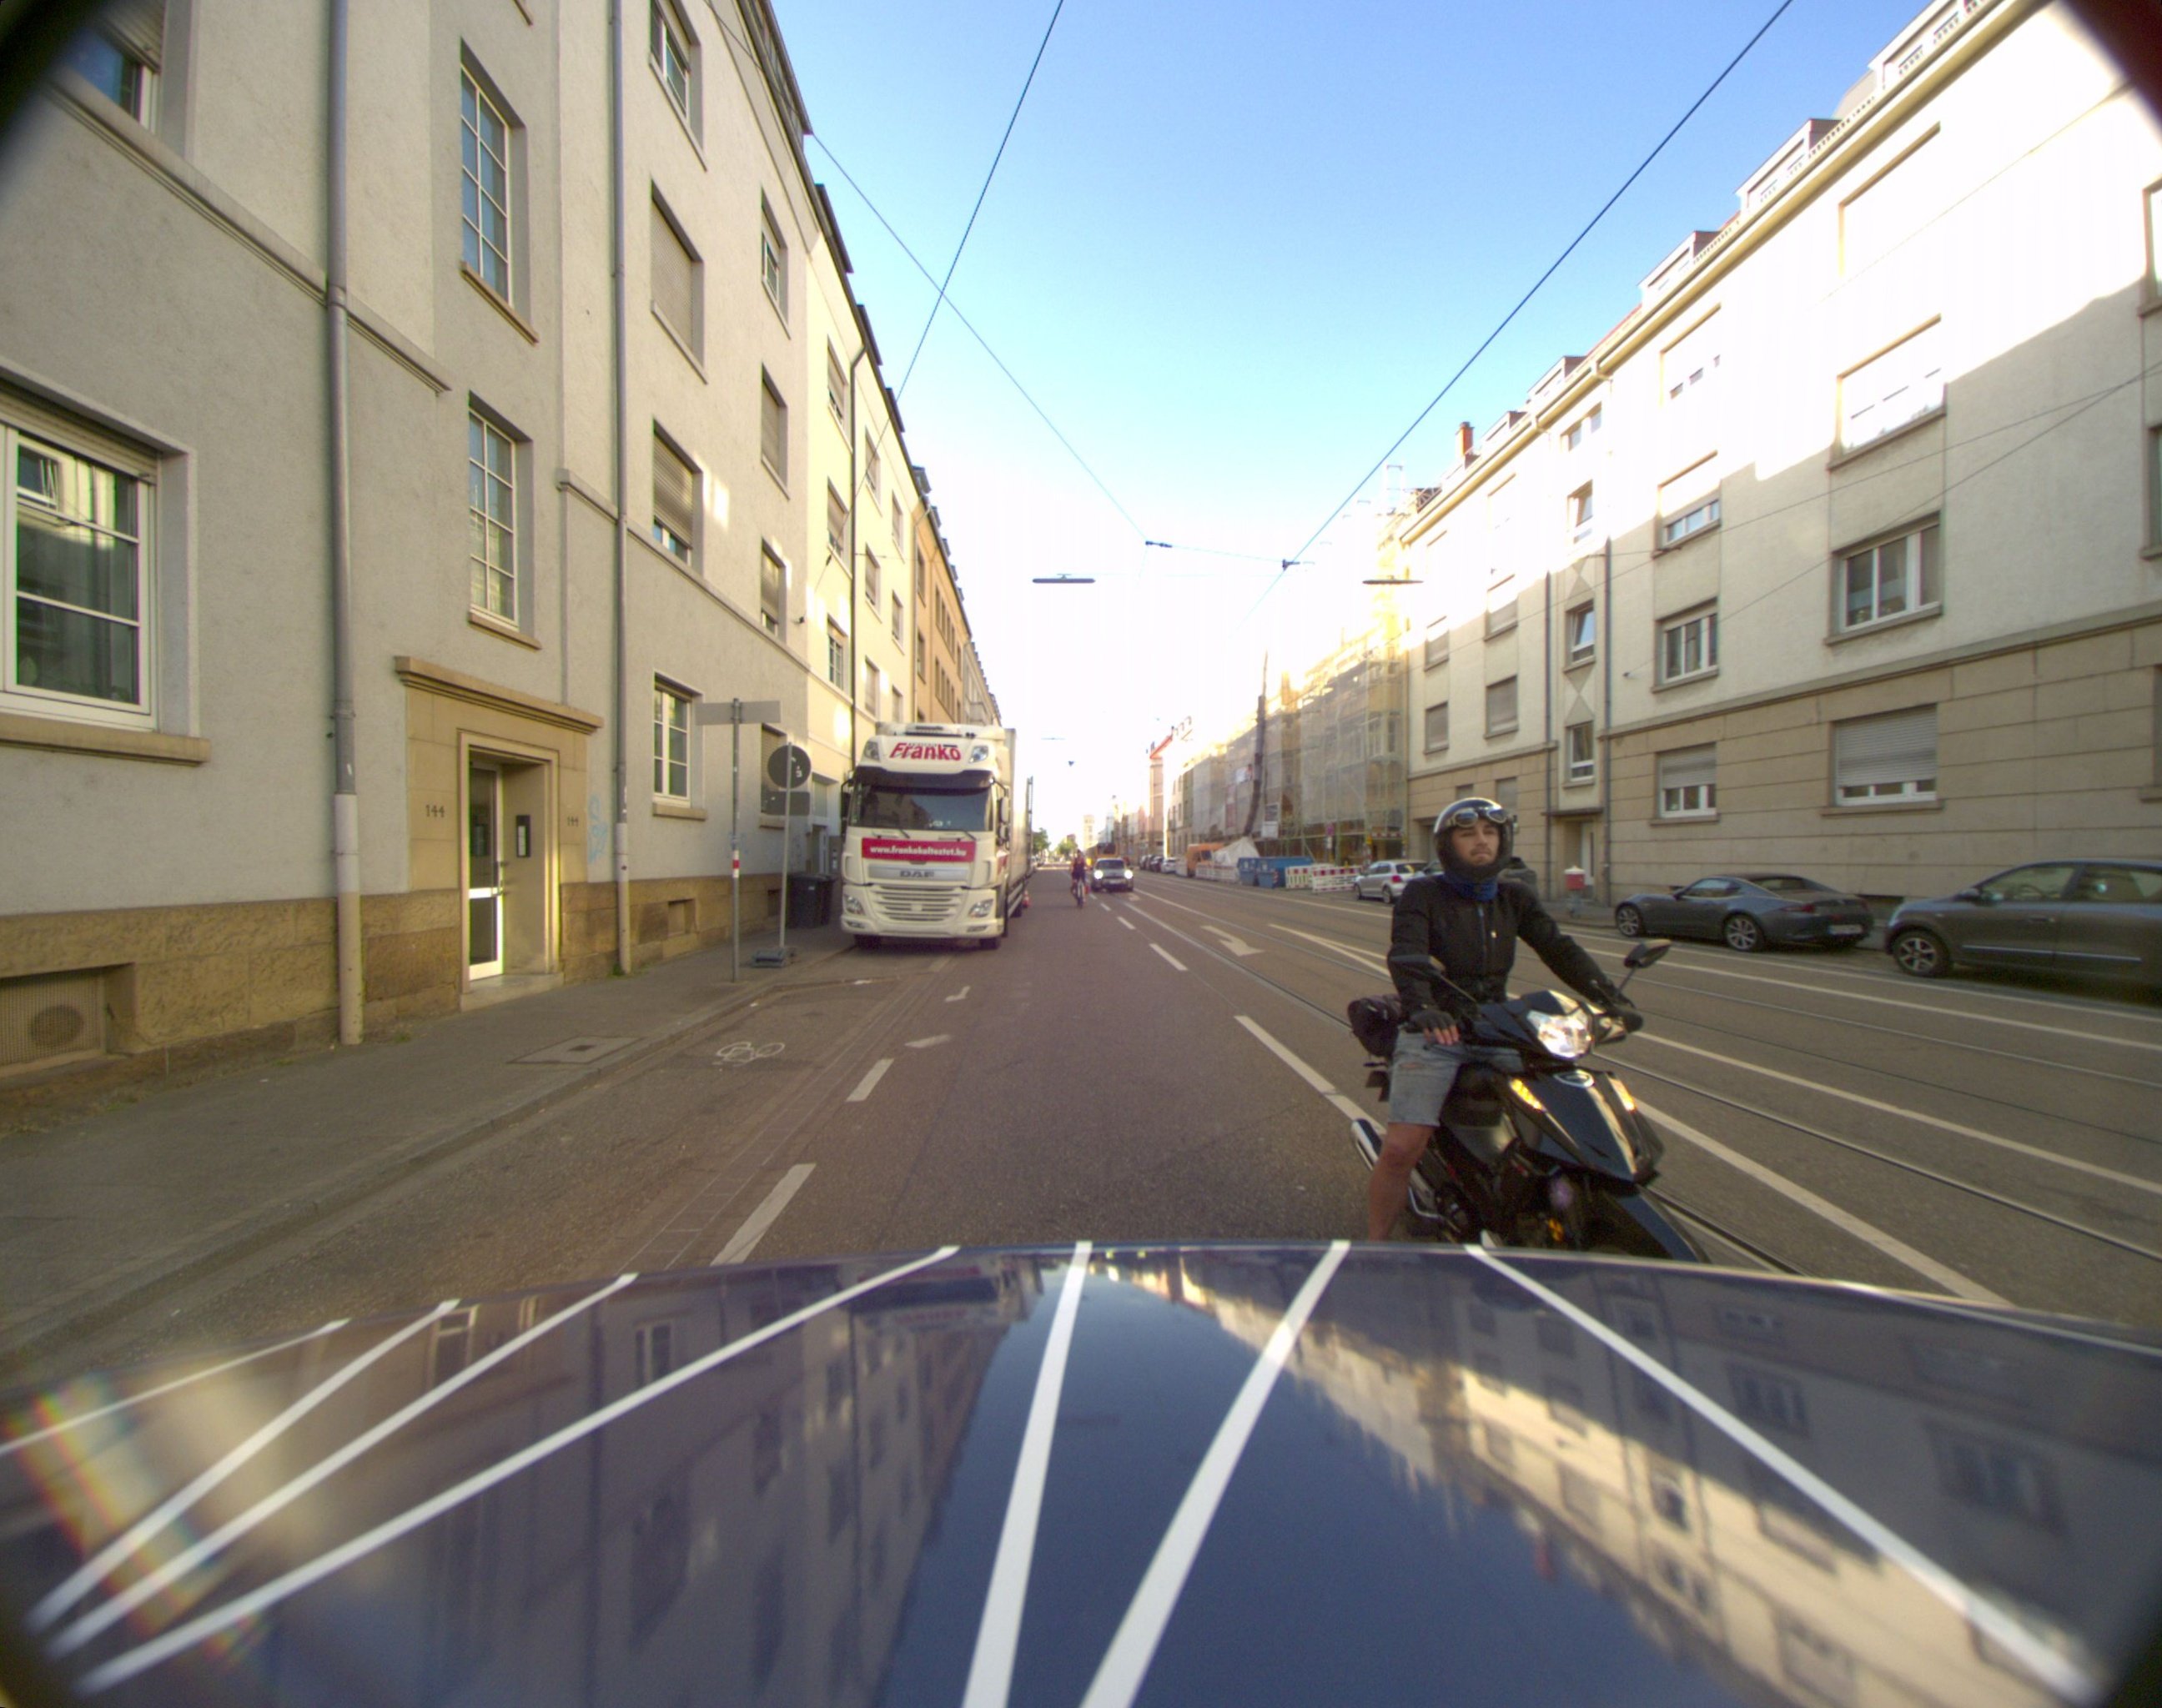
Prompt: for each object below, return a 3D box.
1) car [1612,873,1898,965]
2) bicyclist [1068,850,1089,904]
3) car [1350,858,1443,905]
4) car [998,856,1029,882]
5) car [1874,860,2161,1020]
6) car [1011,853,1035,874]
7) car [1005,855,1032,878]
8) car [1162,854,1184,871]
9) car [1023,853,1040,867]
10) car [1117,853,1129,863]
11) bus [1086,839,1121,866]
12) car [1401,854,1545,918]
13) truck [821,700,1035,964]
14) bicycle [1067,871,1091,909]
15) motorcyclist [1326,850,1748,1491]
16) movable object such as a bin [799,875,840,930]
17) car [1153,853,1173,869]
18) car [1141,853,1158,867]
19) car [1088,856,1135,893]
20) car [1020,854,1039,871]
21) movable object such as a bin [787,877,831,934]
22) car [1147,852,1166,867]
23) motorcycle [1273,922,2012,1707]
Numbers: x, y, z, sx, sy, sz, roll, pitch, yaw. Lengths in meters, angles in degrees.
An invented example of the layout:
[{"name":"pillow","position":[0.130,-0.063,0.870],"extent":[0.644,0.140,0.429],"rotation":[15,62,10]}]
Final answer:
[{"name":"car","position":[11.179,0.999,12.984],"extent":[1.520,1.227,3.685],"rotation":[-1,0,-3]},{"name":"bicyclist","position":[-0.082,0.703,23.535],"extent":[0.618,1.620,0.759],"rotation":[0,1,-4]},{"name":"car","position":[10.609,0.881,25.782],"extent":[1.543,1.404,3.510],"rotation":[-1,0,-3]},{"name":"car","position":[-4.176,0.892,47.190],"extent":[1.685,1.522,4.148],"rotation":[-2,0,-3]},{"name":"car","position":[11.416,0.859,8.322],"extent":[1.679,1.519,3.539],"rotation":[-1,0,-3]},{"name":"car","position":[-4.510,0.742,59.161],"extent":[1.685,1.522,4.148],"rotation":[-2,0,-3]},{"name":"car","position":[-4.303,0.825,52.993],"extent":[1.685,1.522,4.148],"rotation":[-2,0,-3]},{"name":"car","position":[8.572,0.760,71.116],"extent":[1.684,1.478,3.966],"rotation":[-2,0,1]},{"name":"car","position":[-5.350,0.645,82.747],"extent":[1.685,1.522,4.148],"rotation":[-2,0,-3]},{"name":"car","position":[6.600,0.623,118.638],"extent":[1.684,1.478,3.966],"rotation":[-2,0,1]},{"name":"bus","position":[2.613,-0.142,95.963],"extent":[2.755,3.095,19.156],"rotation":[0,0,-3]},{"name":"car","position":[10.810,0.805,21.334],"extent":[1.696,1.590,4.206],"rotation":[-1,0,-3]},{"name":"truck","position":[-2.626,-0.325,17.184],"extent":[2.782,3.903,11.816],"rotation":[0,0,-2]},{"name":"bicycle","position":[-0.084,1.098,23.522],"extent":[0.618,1.097,1.885],"rotation":[0,0,-4]},{"name":"motorcyclist","position":[1.307,0.813,2.394],"extent":[0.791,1.645,0.900],"rotation":[0,1,1]},{"name":"movable object such as a bin","position":[-5.401,0.993,15.712],"extent":[0.666,1.087,0.570],"rotation":[0,1,-2]},{"name":"car","position":[8.267,0.705,76.813],"extent":[1.684,1.478,3.966],"rotation":[-2,0,1]},{"name":"car","position":[7.935,0.653,87.883],"extent":[1.684,1.478,3.966],"rotation":[-2,0,1]},{"name":"car","position":[1.295,0.860,33.450],"extent":[1.685,1.454,4.148],"rotation":[-2,0,-3]},{"name":"car","position":[-4.856,0.744,72.101],"extent":[1.685,1.522,4.148],"rotation":[-2,0,-3]},{"name":"movable object such as a bin","position":[-5.384,1.002,15.043],"extent":[0.666,1.087,0.570],"rotation":[0,1,-2]},{"name":"car","position":[8.246,0.616,83.186],"extent":[1.684,1.573,3.966],"rotation":[-2,0,1]},{"name":"motorcycle","position":[1.308,0.970,2.523],"extent":[0.791,1.284,2.273],"rotation":[0,0,1]}]
